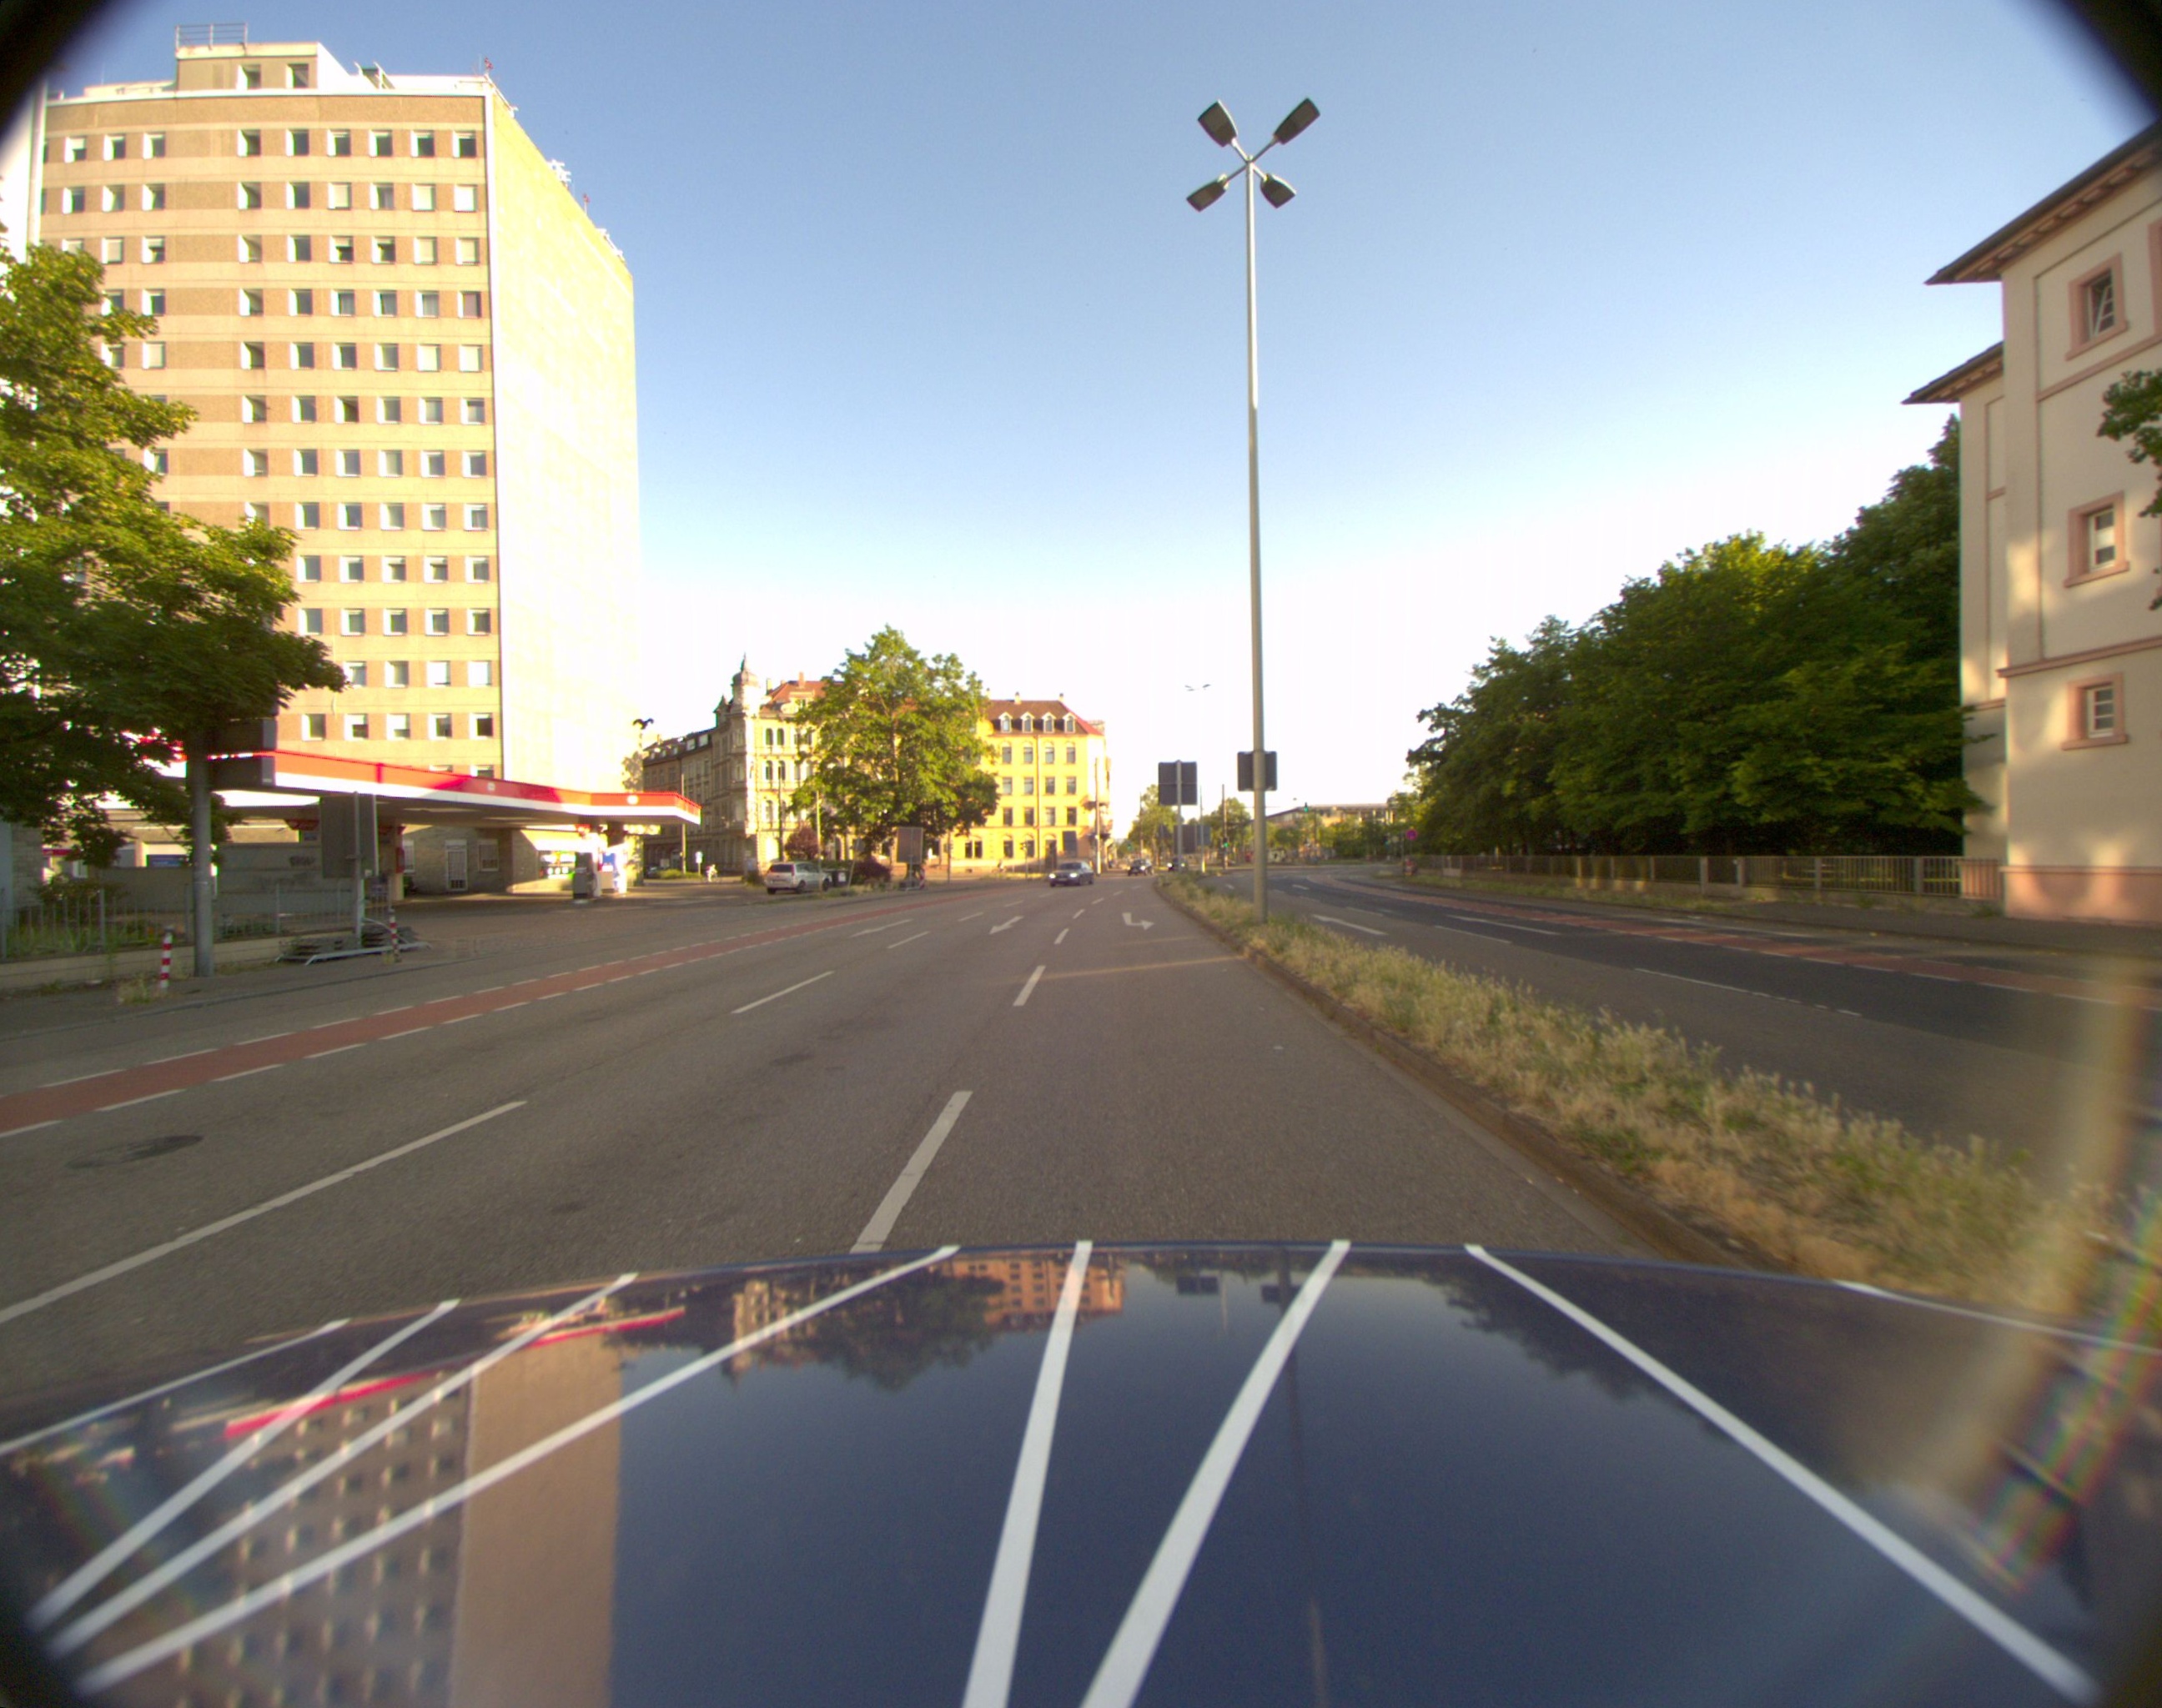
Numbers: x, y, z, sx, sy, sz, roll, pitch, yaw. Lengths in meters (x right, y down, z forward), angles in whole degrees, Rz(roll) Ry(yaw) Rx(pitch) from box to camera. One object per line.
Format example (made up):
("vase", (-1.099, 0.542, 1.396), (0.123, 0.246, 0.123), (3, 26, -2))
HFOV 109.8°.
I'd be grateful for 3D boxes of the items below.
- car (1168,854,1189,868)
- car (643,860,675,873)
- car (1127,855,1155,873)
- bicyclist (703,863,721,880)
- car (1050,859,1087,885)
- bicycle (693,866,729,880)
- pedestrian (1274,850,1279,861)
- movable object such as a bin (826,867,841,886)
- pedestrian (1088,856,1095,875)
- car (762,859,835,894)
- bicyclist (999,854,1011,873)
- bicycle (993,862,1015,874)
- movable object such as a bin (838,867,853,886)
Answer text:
("car", (10.463, 0.743, 81.259), (1.730, 1.440, 4.049), (-2, 0, 13))
("car", (-49.031, 1.448, 88.189), (3.988, 1.524, 2.004), (-1, 0, 42))
("car", (5.275, 0.858, 66.548), (1.582, 1.440, 3.877), (-2, 0, 18))
("bicyclist", (-31.902, 1.508, 65.683), (1.069, 1.357, 0.854), (-3, 1, -5))
("car", (-0.698, 1.053, 46.286), (1.819, 1.440, 4.668), (-2, 0, 4))
("bicycle", (-31.981, 1.620, 65.655), (2.621, 1.063, 0.784), (-3, 1, -5))
("pedestrian", (35.083, 0.232, 136.344), (0.556, 2.002, 0.664), (-1, 1, 1))
("movable object such as a bin", (-13.530, 1.226, 41.548), (0.544, 1.013, 0.688), (-1, 1, 6))
("pedestrian", (0.919, 1.051, 67.699), (0.500, 1.693, 0.472), (-1, 0, 8))
("car", (-13.672, 1.042, 36.969), (1.688, 1.508, 3.798), (-1, 1, 8))
("bicyclist", (-6.967, 0.859, 69.531), (1.065, 1.639, 0.732), (-1, 1, -6))
("bicycle", (-7.031, 1.316, 69.404), (1.927, 1.053, 0.451), (-1, 1, -6))
("movable object such as a bin", (-12.811, 1.209, 41.331), (0.544, 1.013, 0.688), (-1, 1, 6))
